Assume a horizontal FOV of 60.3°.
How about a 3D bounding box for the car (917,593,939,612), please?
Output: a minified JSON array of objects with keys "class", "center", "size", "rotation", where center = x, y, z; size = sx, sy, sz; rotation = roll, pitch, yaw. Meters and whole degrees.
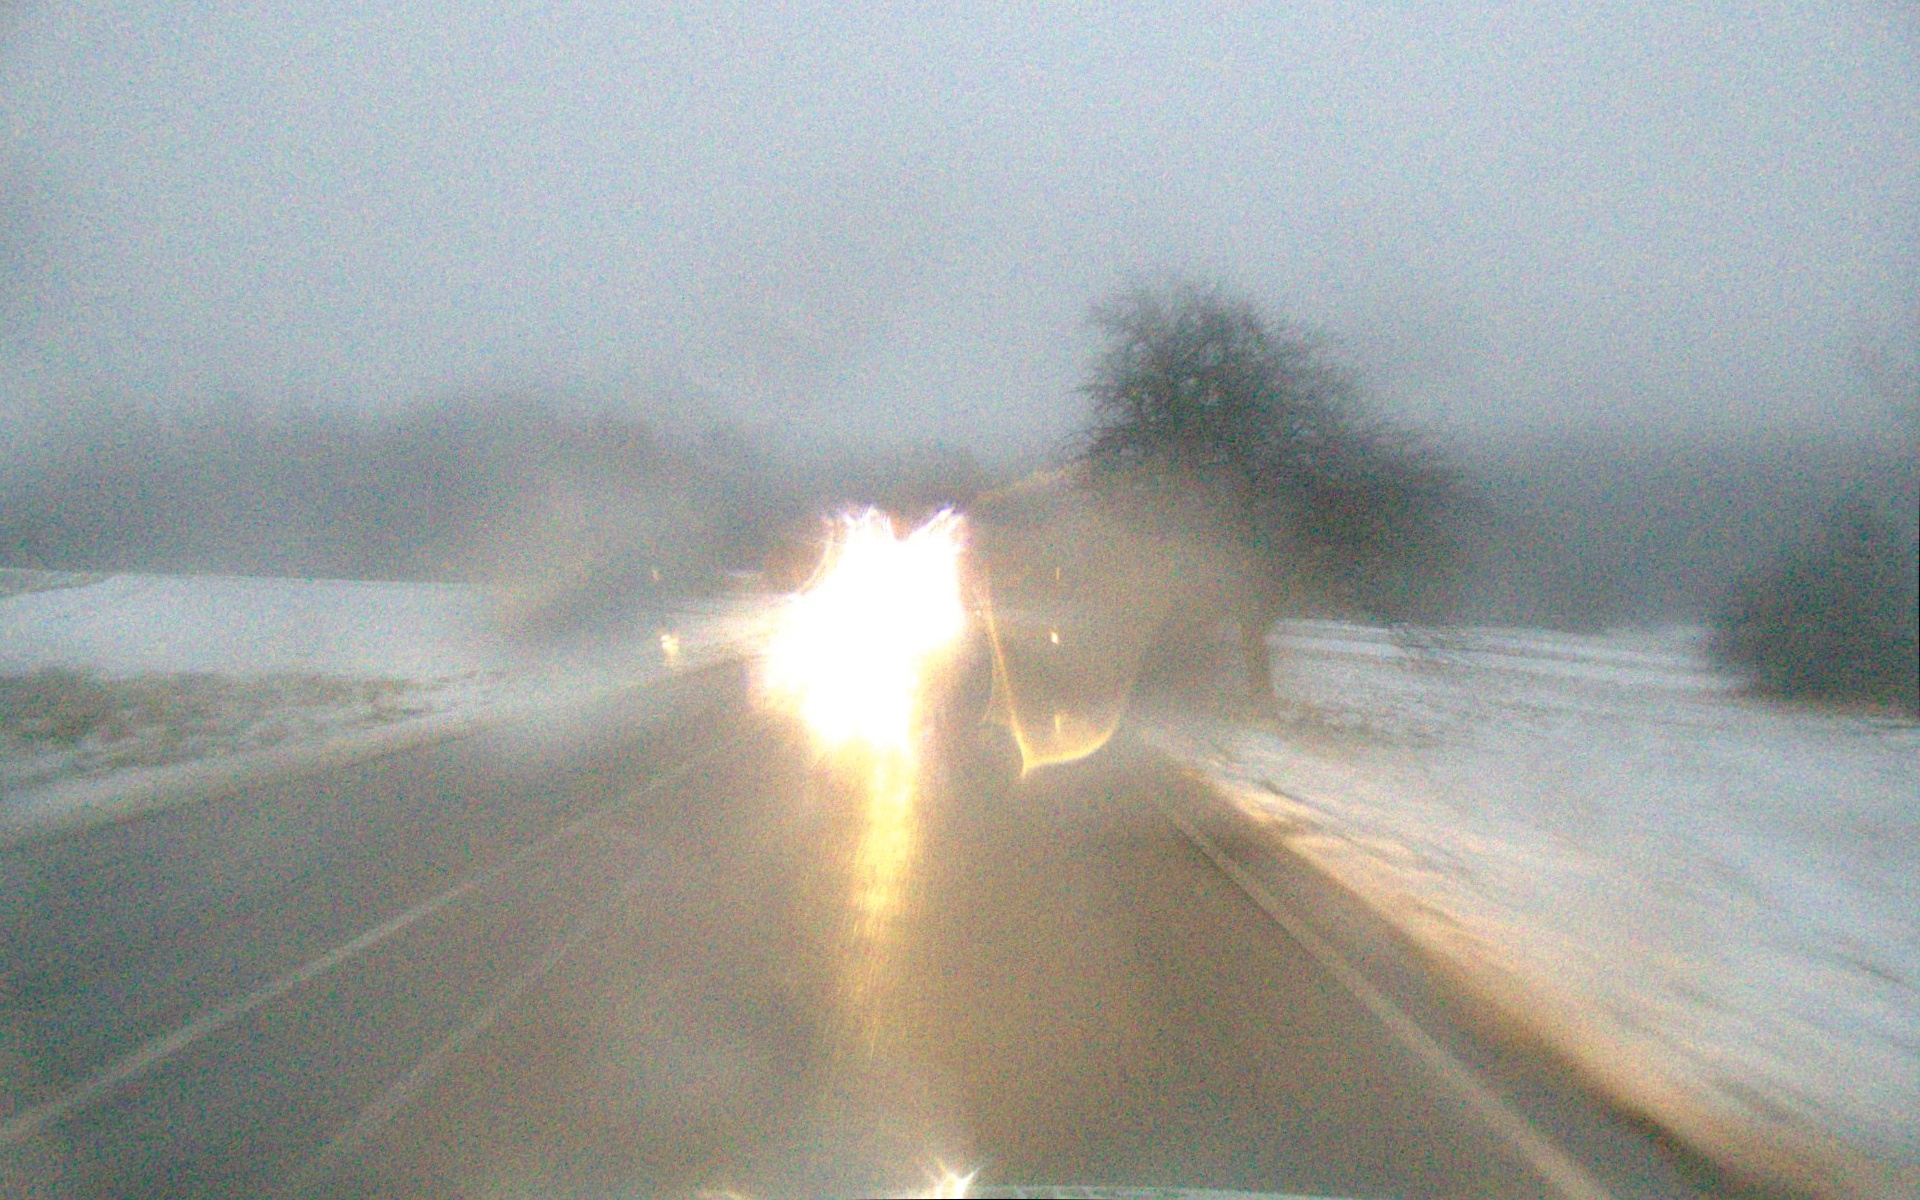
[{"class":"car","center":[-2.902,0.212,152.228],"size":[1.657,1.579,3.858],"rotation":[1,1,4]}]
